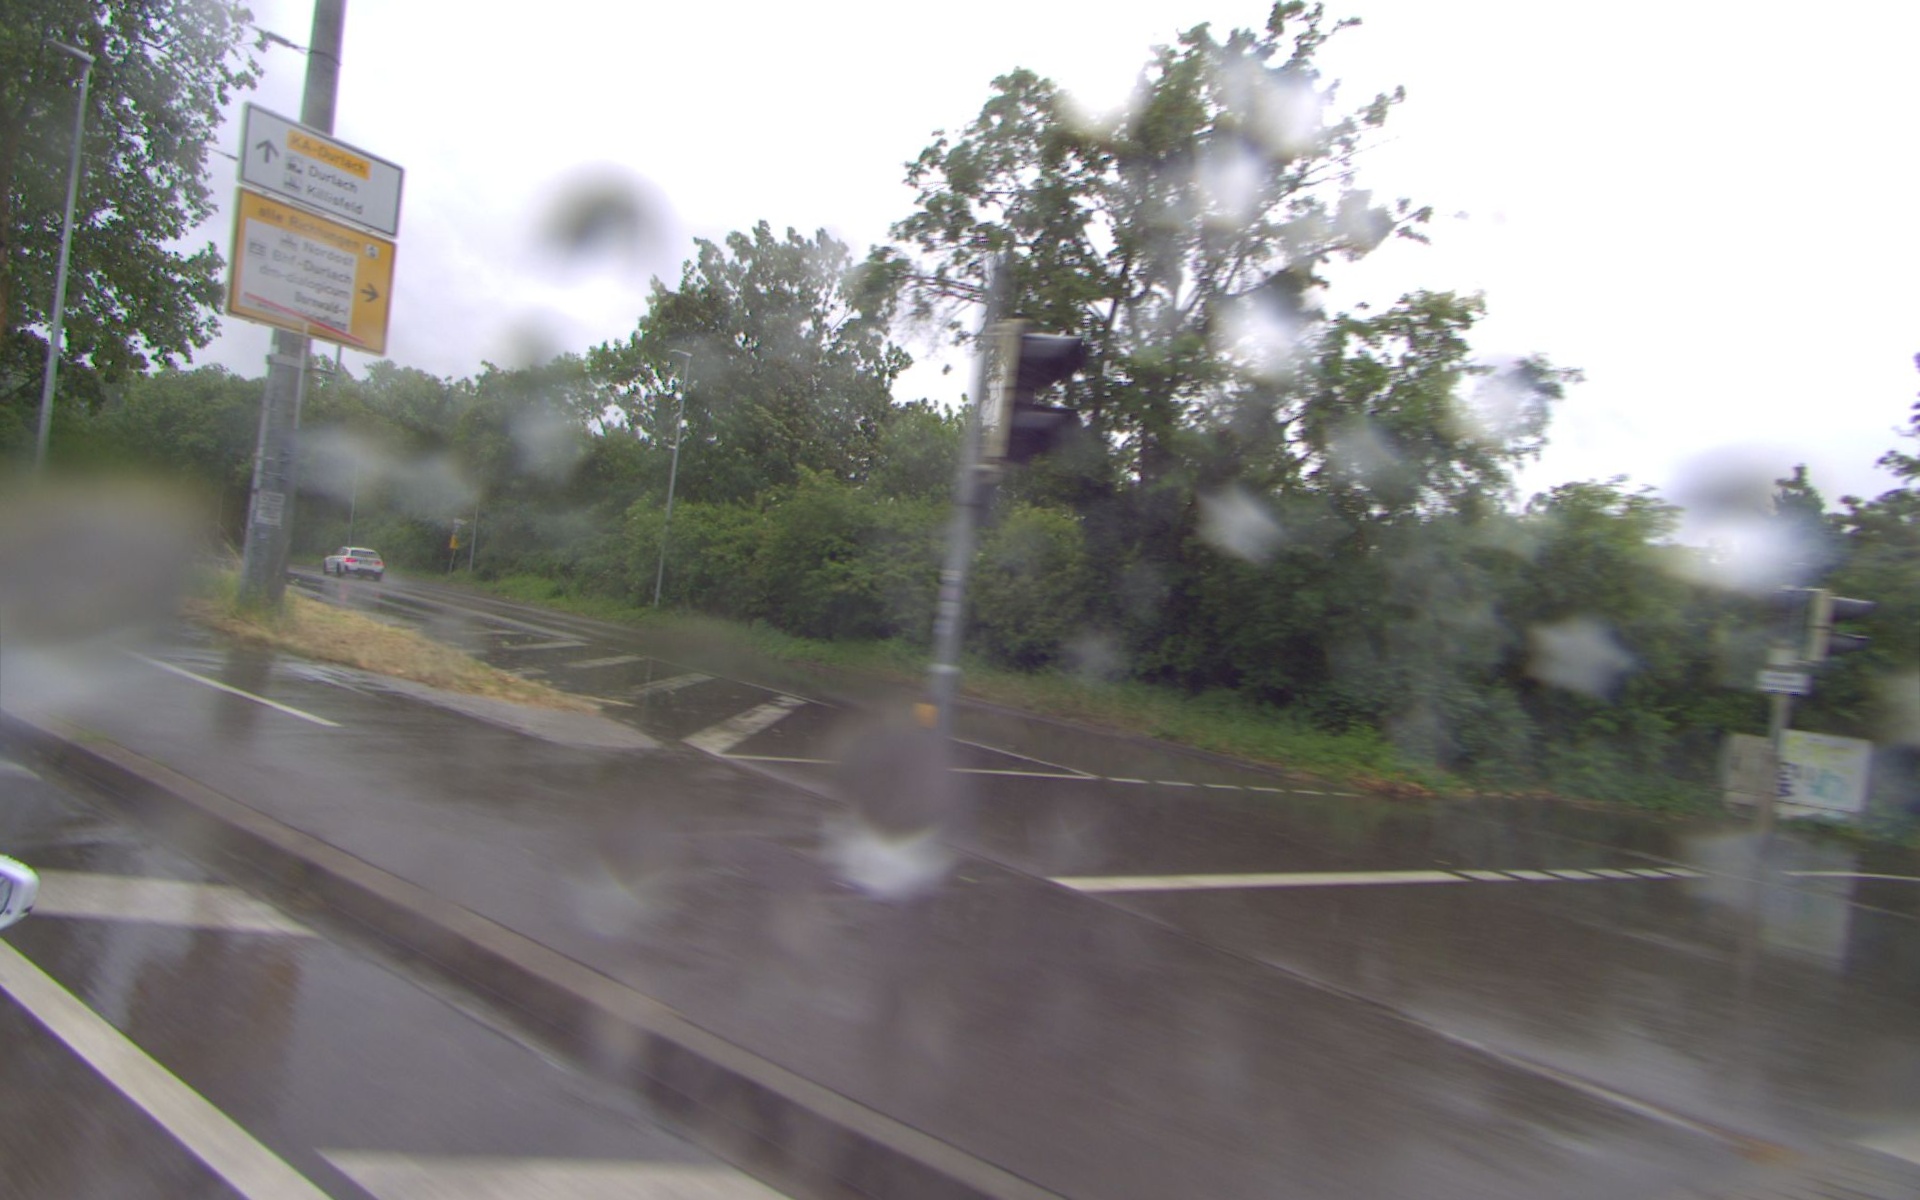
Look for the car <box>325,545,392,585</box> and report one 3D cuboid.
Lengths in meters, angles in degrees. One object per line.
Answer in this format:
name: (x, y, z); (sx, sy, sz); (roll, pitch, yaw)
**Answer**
car: (-28.781, -1.705, 48.078); (1.883, 1.448, 3.951); (8, -1, -43)
